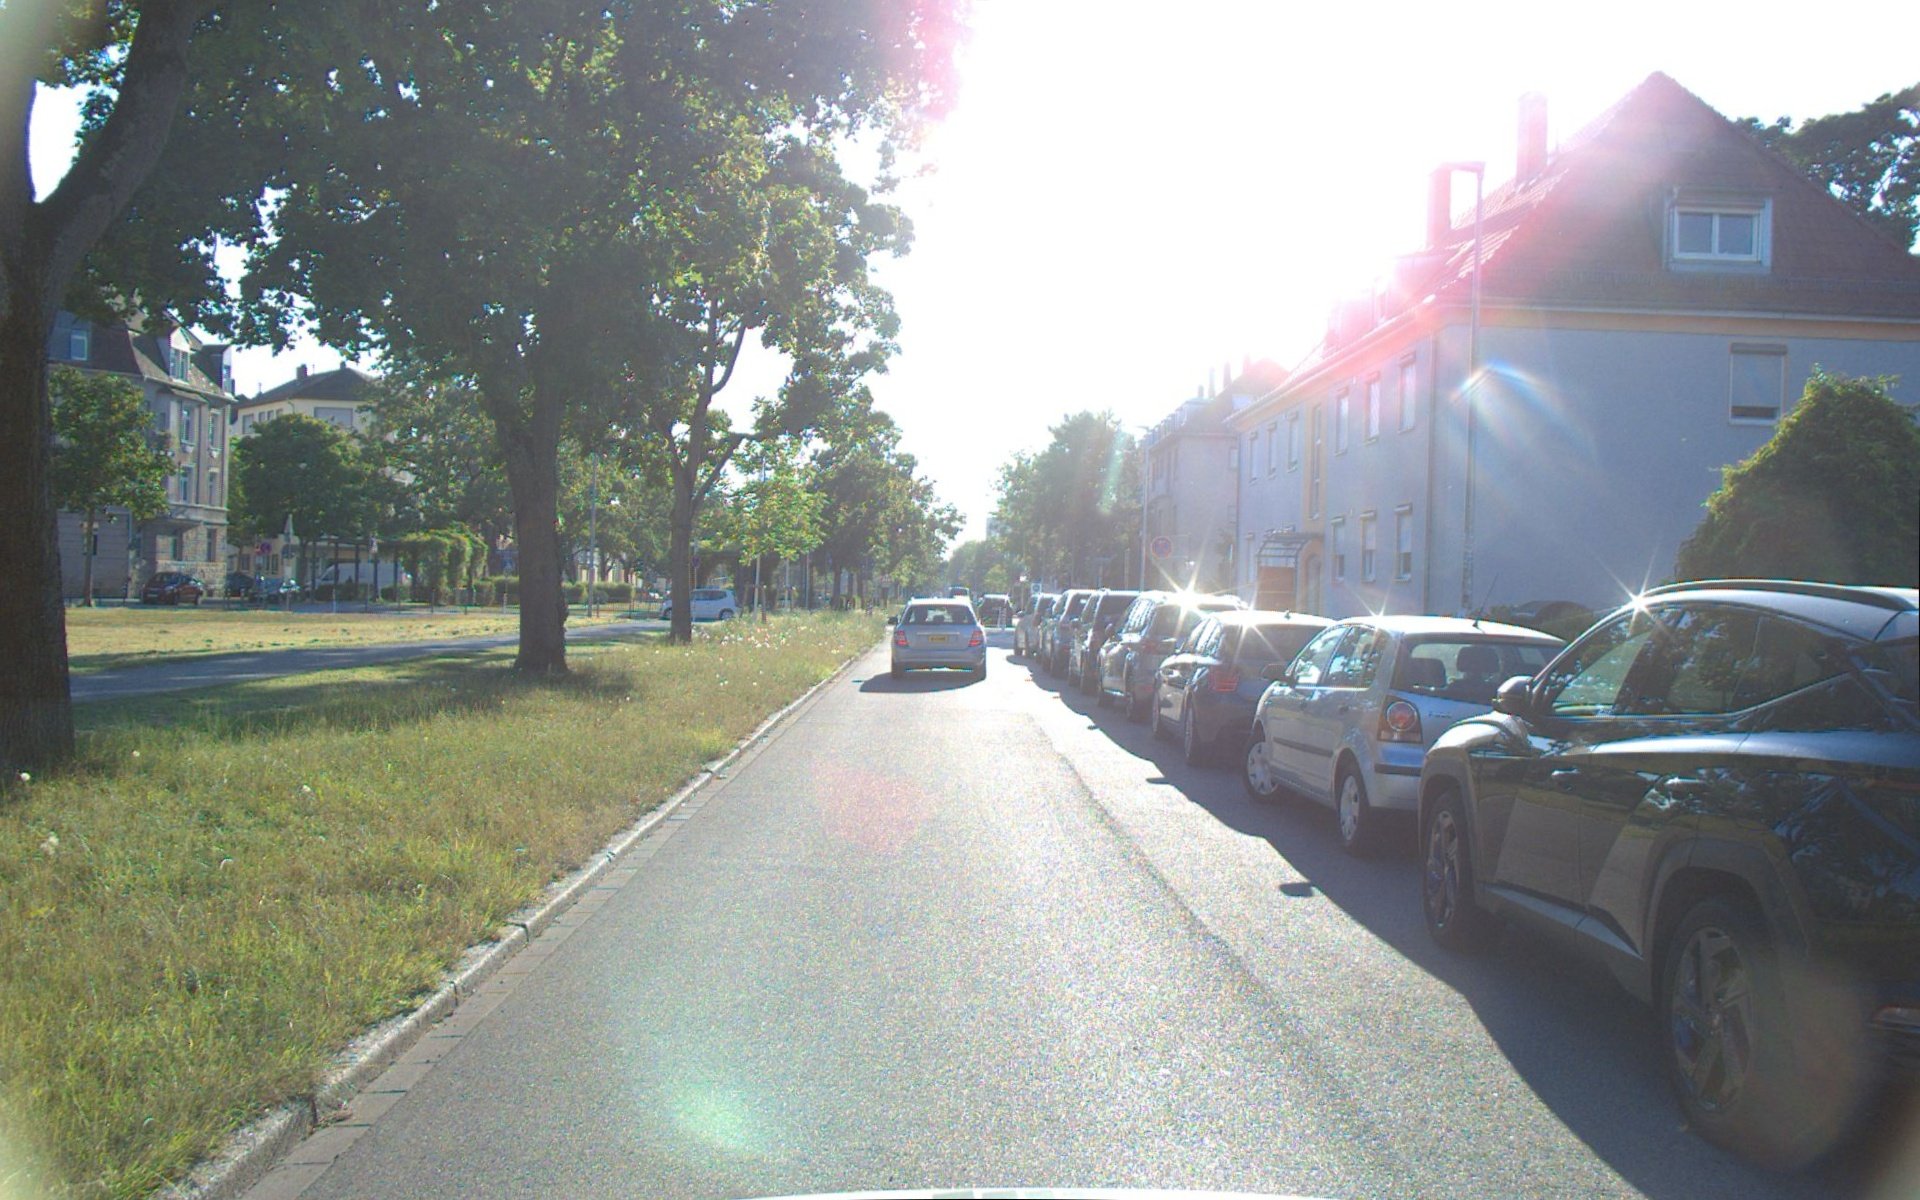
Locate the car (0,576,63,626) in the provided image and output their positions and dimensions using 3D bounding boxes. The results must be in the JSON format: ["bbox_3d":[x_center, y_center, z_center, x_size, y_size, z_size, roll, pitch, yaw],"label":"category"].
[{"bbox_3d":[-34.074,0.056,58.475,1.943,1.665,4.828,-3,0,1],"label":"car"}]

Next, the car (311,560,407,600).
[{"bbox_3d":[-42.720,-1.431,117.620,6.232,2.767,1.981,0,1,-32],"label":"car"}]

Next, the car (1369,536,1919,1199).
[{"bbox_3d":[3.093,0.673,6.280,1.816,1.686,4.819,1,1,-1],"label":"car"}]

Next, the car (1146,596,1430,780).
[{"bbox_3d":[3.112,0.757,16.672,1.953,1.488,4.562,2,1,0],"label":"car"}]

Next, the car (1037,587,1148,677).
[{"bbox_3d":[2.576,0.579,33.079,1.741,1.672,4.755,0,0,-1],"label":"car"}]

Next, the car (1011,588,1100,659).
[{"bbox_3d":[2.447,0.565,43.274,1.683,1.667,4.560,2,1,-4],"label":"car"}]

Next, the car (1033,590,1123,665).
[{"bbox_3d":[2.671,0.588,38.023,1.694,1.553,3.734,-1,1,-1],"label":"car"}]

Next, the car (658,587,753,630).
[{"bbox_3d":[-11.015,0.364,71.766,3.816,1.624,1.999,-3,0,-3],"label":"car"}]

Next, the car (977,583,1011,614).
[{"bbox_3d":[1.761,-0.065,87.112,1.686,1.625,3.999,0,0,0],"label":"car"}]

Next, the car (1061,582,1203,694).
[{"bbox_3d":[2.779,0.577,27.647,1.730,1.663,4.763,1,0,-1],"label":"car"}]

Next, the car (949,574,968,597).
[{"bbox_3d":[-0.190,-1.404,163.393,1.823,2.231,5.070,0,1,0],"label":"car"}]

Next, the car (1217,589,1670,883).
[{"bbox_3d":[3.148,0.793,11.724,1.694,1.575,4.205,5,0,-3],"label":"car"}]

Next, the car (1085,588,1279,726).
[{"bbox_3d":[2.802,0.660,21.836,1.690,1.588,4.414,1,1,-4],"label":"car"}]

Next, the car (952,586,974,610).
[{"bbox_3d":[0.249,-0.206,145.349,1.948,2.059,4.000,0,0,0],"label":"car"}]

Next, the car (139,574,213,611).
[{"bbox_3d":[-39.683,-0.351,83.820,1.610,1.737,4.294,-3,0,0],"label":"car"}]

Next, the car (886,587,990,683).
[{"bbox_3d":[-0.398,0.588,30.789,1.786,1.594,4.000,-1,1,0],"label":"car"}]
